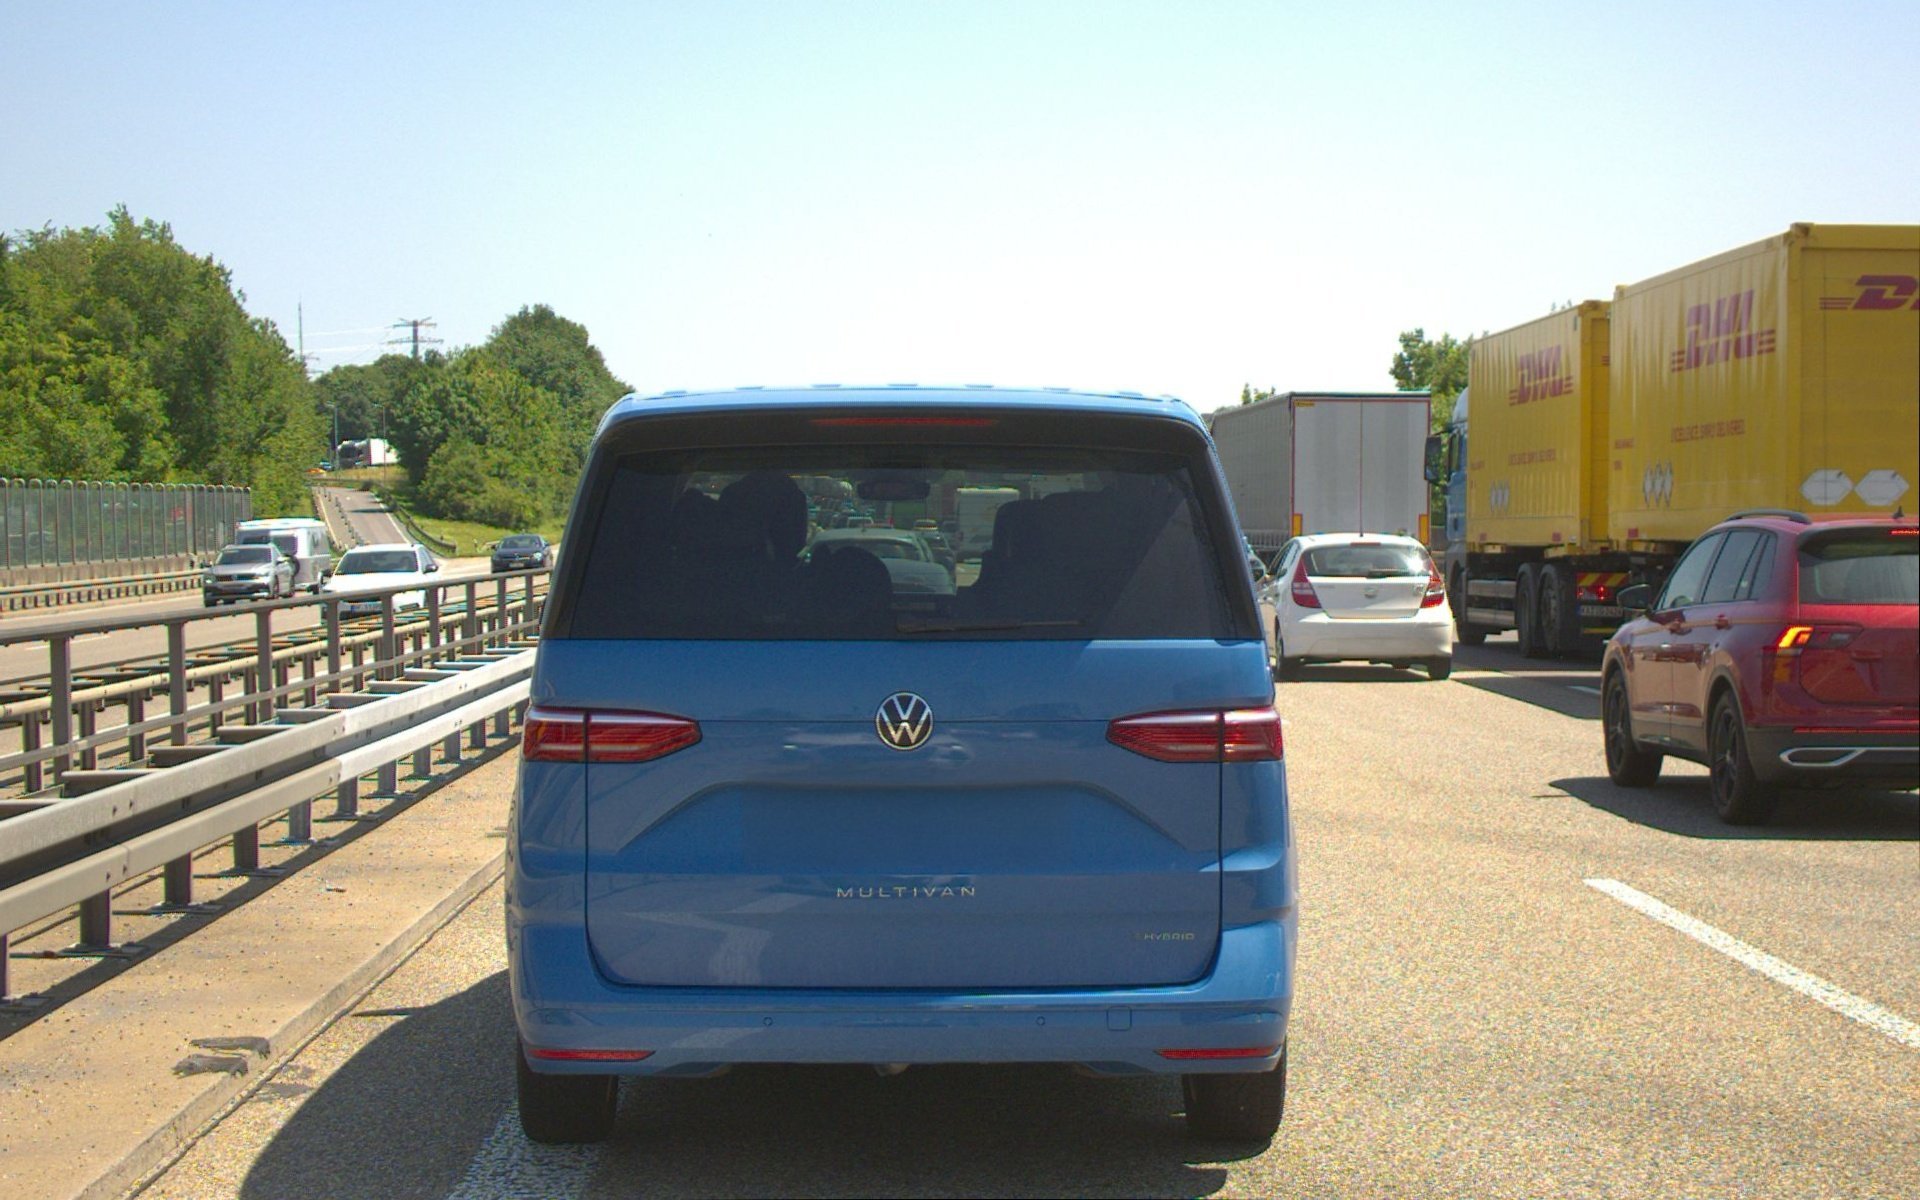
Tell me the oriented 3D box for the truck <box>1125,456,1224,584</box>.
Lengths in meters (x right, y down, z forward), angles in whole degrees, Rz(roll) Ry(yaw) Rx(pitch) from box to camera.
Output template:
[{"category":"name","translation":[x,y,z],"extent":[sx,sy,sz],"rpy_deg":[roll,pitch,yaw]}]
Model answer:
[{"category":"truck","translation":[6.393,-2.362,103.161],"extent":[2.367,3.709,6.034],"rpy_deg":[1,1,-2]}]

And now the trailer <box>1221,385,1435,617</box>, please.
[{"category":"trailer","translation":[7.048,-1.843,67.489],"extent":[2.755,4.132,11.313],"rpy_deg":[1,1,-1]}]

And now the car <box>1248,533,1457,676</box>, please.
[{"category":"car","translation":[4.061,0.006,36.112],"extent":[1.838,1.409,4.000],"rpy_deg":[0,1,2]}]

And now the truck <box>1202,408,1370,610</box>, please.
[{"category":"truck","translation":[6.916,-1.909,73.797],"extent":[2.768,4.081,6.985],"rpy_deg":[1,1,-1]}]

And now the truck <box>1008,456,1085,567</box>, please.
[{"category":"truck","translation":[4.034,-4.124,162.537],"extent":[2.833,5.023,11.147],"rpy_deg":[1,1,-2]}]

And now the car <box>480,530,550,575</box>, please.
[{"category":"car","translation":[-15.461,-1.678,119.638],"extent":[1.856,1.392,4.676],"rpy_deg":[1,2,-1]}]

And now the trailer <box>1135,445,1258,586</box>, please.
[{"category":"trailer","translation":[6.604,-2.321,97.515],"extent":[2.379,3.731,11.189],"rpy_deg":[1,1,-2]}]

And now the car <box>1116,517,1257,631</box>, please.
[{"category":"car","translation":[3.244,-0.364,49.849],"extent":[1.715,1.581,3.821],"rpy_deg":[0,0,-1]}]

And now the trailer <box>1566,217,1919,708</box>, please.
[{"category":"trailer","translation":[8.015,-1.169,32.668],"extent":[2.701,4.009,8.931],"rpy_deg":[1,1,-1]}]

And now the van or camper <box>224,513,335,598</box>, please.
[{"category":"van or camper","translation":[-18.786,-1.227,95.115],"extent":[1.993,2.204,5.537],"rpy_deg":[-3,1,-2]}]

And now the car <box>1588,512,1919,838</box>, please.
[{"category":"car","translation":[4.786,0.322,18.921],"extent":[1.851,1.603,4.000],"rpy_deg":[0,1,-1]}]

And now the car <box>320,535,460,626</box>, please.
[{"category":"car","translation":[-9.841,-0.360,59.640],"extent":[1.757,1.444,4.287],"rpy_deg":[-2,1,-1]}]

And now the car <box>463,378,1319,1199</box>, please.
[{"category":"car","translation":[-0.185,0.385,9.574],"extent":[1.882,1.831,4.000],"rpy_deg":[0,1,-1]}]

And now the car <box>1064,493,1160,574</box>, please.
[{"category":"car","translation":[3.077,-1.331,70.013],"extent":[1.715,1.535,3.821],"rpy_deg":[0,-1,-1]}]

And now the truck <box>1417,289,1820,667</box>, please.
[{"category":"truck","translation":[7.804,-1.379,42.309],"extent":[2.722,4.040,10.337],"rpy_deg":[1,1,-1]}]

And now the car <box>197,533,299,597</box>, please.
[{"category":"car","translation":[-18.654,-0.923,90.219],"extent":[1.856,1.540,4.201],"rpy_deg":[-3,1,-2]}]

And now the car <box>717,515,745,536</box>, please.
[{"category":"car","translation":[-17.263,-5.590,259.124],"extent":[1.840,1.524,3.558],"rpy_deg":[-2,1,-1]}]

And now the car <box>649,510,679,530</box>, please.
[{"category":"car","translation":[-21.173,-5.701,246.076],"extent":[1.800,1.381,4.263],"rpy_deg":[1,1,-1]}]
